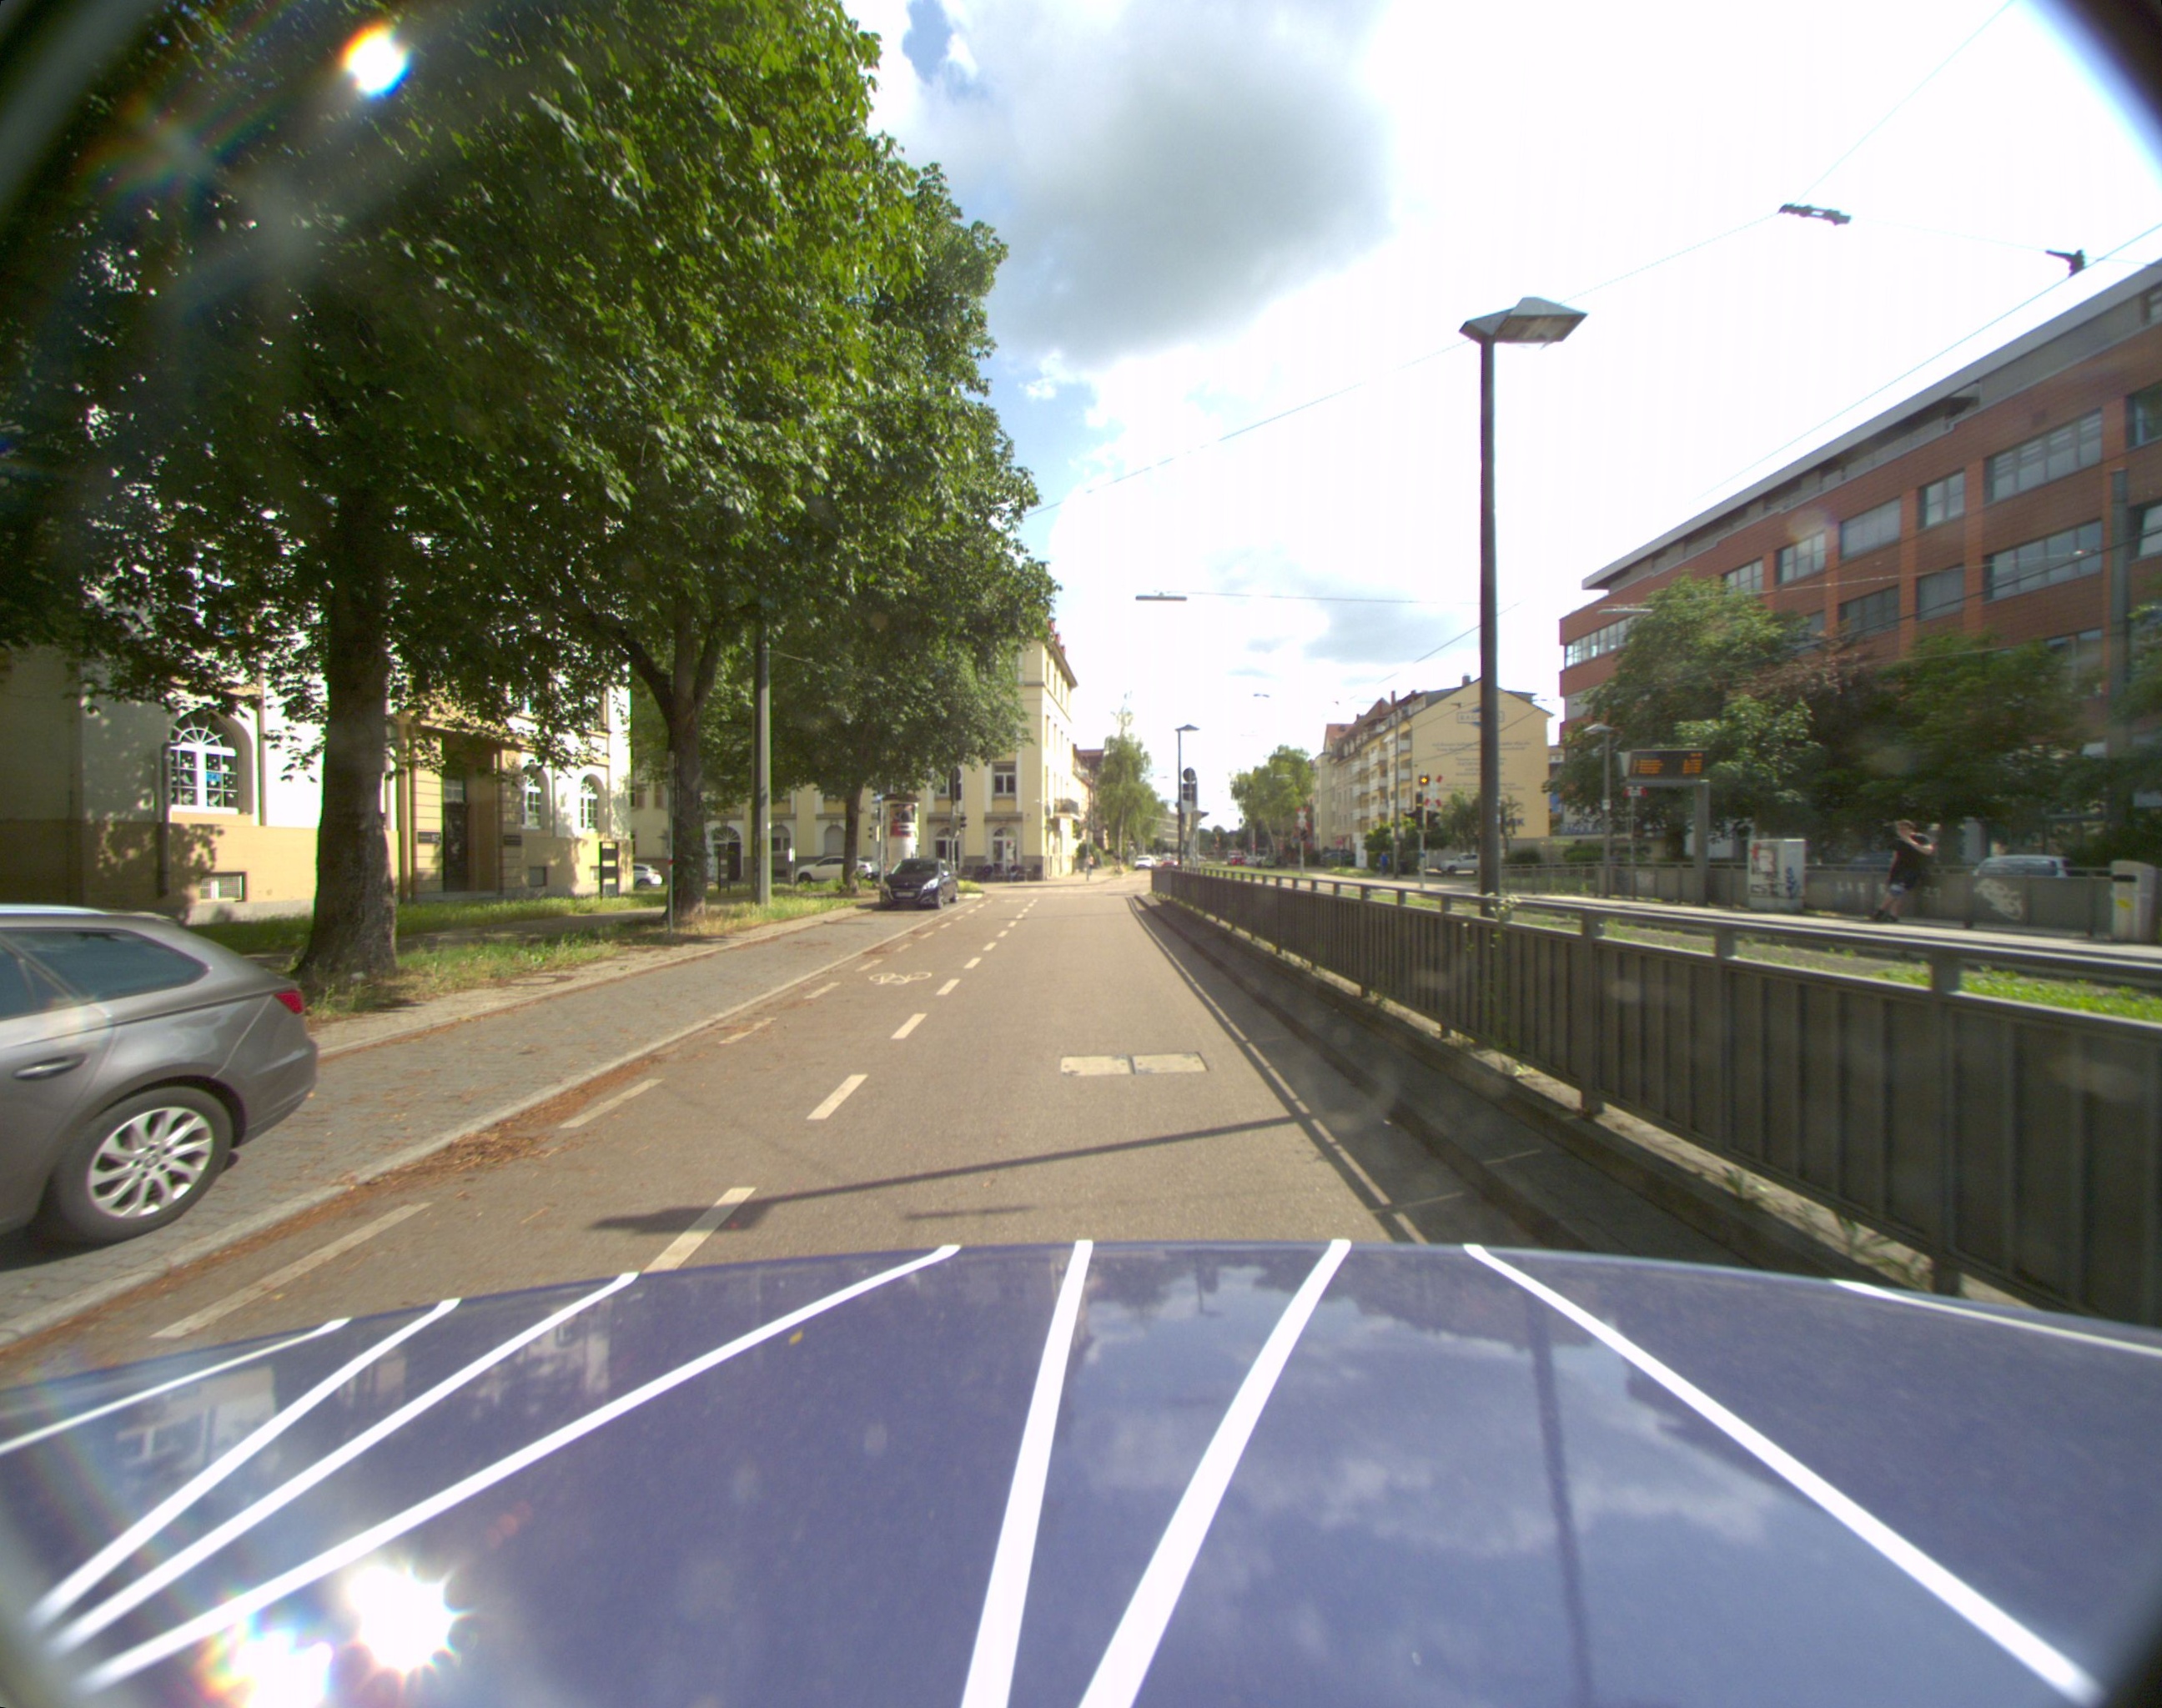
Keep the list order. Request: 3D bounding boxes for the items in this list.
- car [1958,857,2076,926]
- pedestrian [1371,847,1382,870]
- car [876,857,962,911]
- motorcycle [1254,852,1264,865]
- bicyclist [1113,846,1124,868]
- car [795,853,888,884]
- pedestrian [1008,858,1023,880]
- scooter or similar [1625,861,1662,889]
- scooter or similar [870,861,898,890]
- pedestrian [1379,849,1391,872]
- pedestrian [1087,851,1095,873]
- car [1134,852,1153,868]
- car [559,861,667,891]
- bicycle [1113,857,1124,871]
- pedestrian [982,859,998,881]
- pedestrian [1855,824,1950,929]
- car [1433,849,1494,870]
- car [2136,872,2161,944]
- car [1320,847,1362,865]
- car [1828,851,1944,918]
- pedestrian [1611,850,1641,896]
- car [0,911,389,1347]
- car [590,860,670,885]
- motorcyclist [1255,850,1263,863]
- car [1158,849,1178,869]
[{"bbox_3d":[22.889,0.838,18.552,4.008,1.488,1.646,0,0,-37],"label":"car"},{"bbox_3d":[22.776,0.339,58.547,0.650,1.700,0.588,0,1,1],"label":"pedestrian"},{"bbox_3d":[-4.749,0.824,22.749,1.689,1.379,3.923,1,1,0],"label":"car"},{"bbox_3d":[19.238,0.460,82.151,0.634,1.395,2.010,-2,1,3],"label":"motorcycle"},{"bbox_3d":[3.002,0.243,61.368,0.772,1.664,0.951,-3,0,0],"label":"bicyclist"},{"bbox_3d":[-14.015,0.836,44.495,4.828,1.646,1.858,-1,2,10],"label":"car"},{"bbox_3d":[-3.976,0.914,46.430,0.804,1.238,0.892,0,3,3],"label":"pedestrian"},{"bbox_3d":[22.208,0.829,30.017,0.988,1.049,0.620,1,0,-5],"label":"scooter or similar"},{"bbox_3d":[-8.420,0.906,32.443,1.105,1.234,0.447,0,1,22],"label":"scooter or similar"},{"bbox_3d":[21.895,0.471,54.771,0.650,1.700,0.481,0,1,1],"label":"pedestrian"},{"bbox_3d":[0.769,0.629,58.428,0.593,1.622,0.538,2,1,3],"label":"pedestrian"},{"bbox_3d":[6.597,0.611,80.780,1.848,1.606,3.814,-2,1,3],"label":"car"},{"bbox_3d":[-23.313,1.073,38.011,1.852,1.344,4.188,0,0,36],"label":"car"},{"bbox_3d":[3.051,0.845,61.510,0.772,1.097,2.572,-1,-2,0],"label":"bicycle"},{"bbox_3d":[-5.508,0.951,45.985,0.804,1.281,0.759,0,3,3],"label":"pedestrian"},{"bbox_3d":[13.578,0.356,12.587,0.667,1.689,0.798,0,1,-2],"label":"pedestrian"},{"bbox_3d":[27.864,0.404,55.417,3.608,1.470,1.777,0,-3,7],"label":"car"},{"bbox_3d":[22.179,1.048,14.957,3.258,1.296,1.599,0,0,-35],"label":"car"},{"bbox_3d":[29.505,0.190,86.359,4.255,2.002,2.001,0,0,9],"label":"car"},{"bbox_3d":[22.019,0.754,20.749,3.850,1.649,1.870,0,0,-39],"label":"car"},{"bbox_3d":[21.539,0.733,30.040,0.659,1.782,0.620,1,0,-5],"label":"pedestrian"},{"bbox_3d":[-4.807,1.058,1.936,1.834,1.392,4.656,3,0,-1],"label":"car"},{"bbox_3d":[-27.980,1.151,47.184,3.993,1.417,1.858,0,4,12],"label":"car"},{"bbox_3d":[19.241,0.266,82.179,0.663,1.350,0.693,-2,1,3],"label":"motorcyclist"},{"bbox_3d":[9.336,0.515,81.118,1.997,2.002,4.001,-2,1,7],"label":"car"}]
